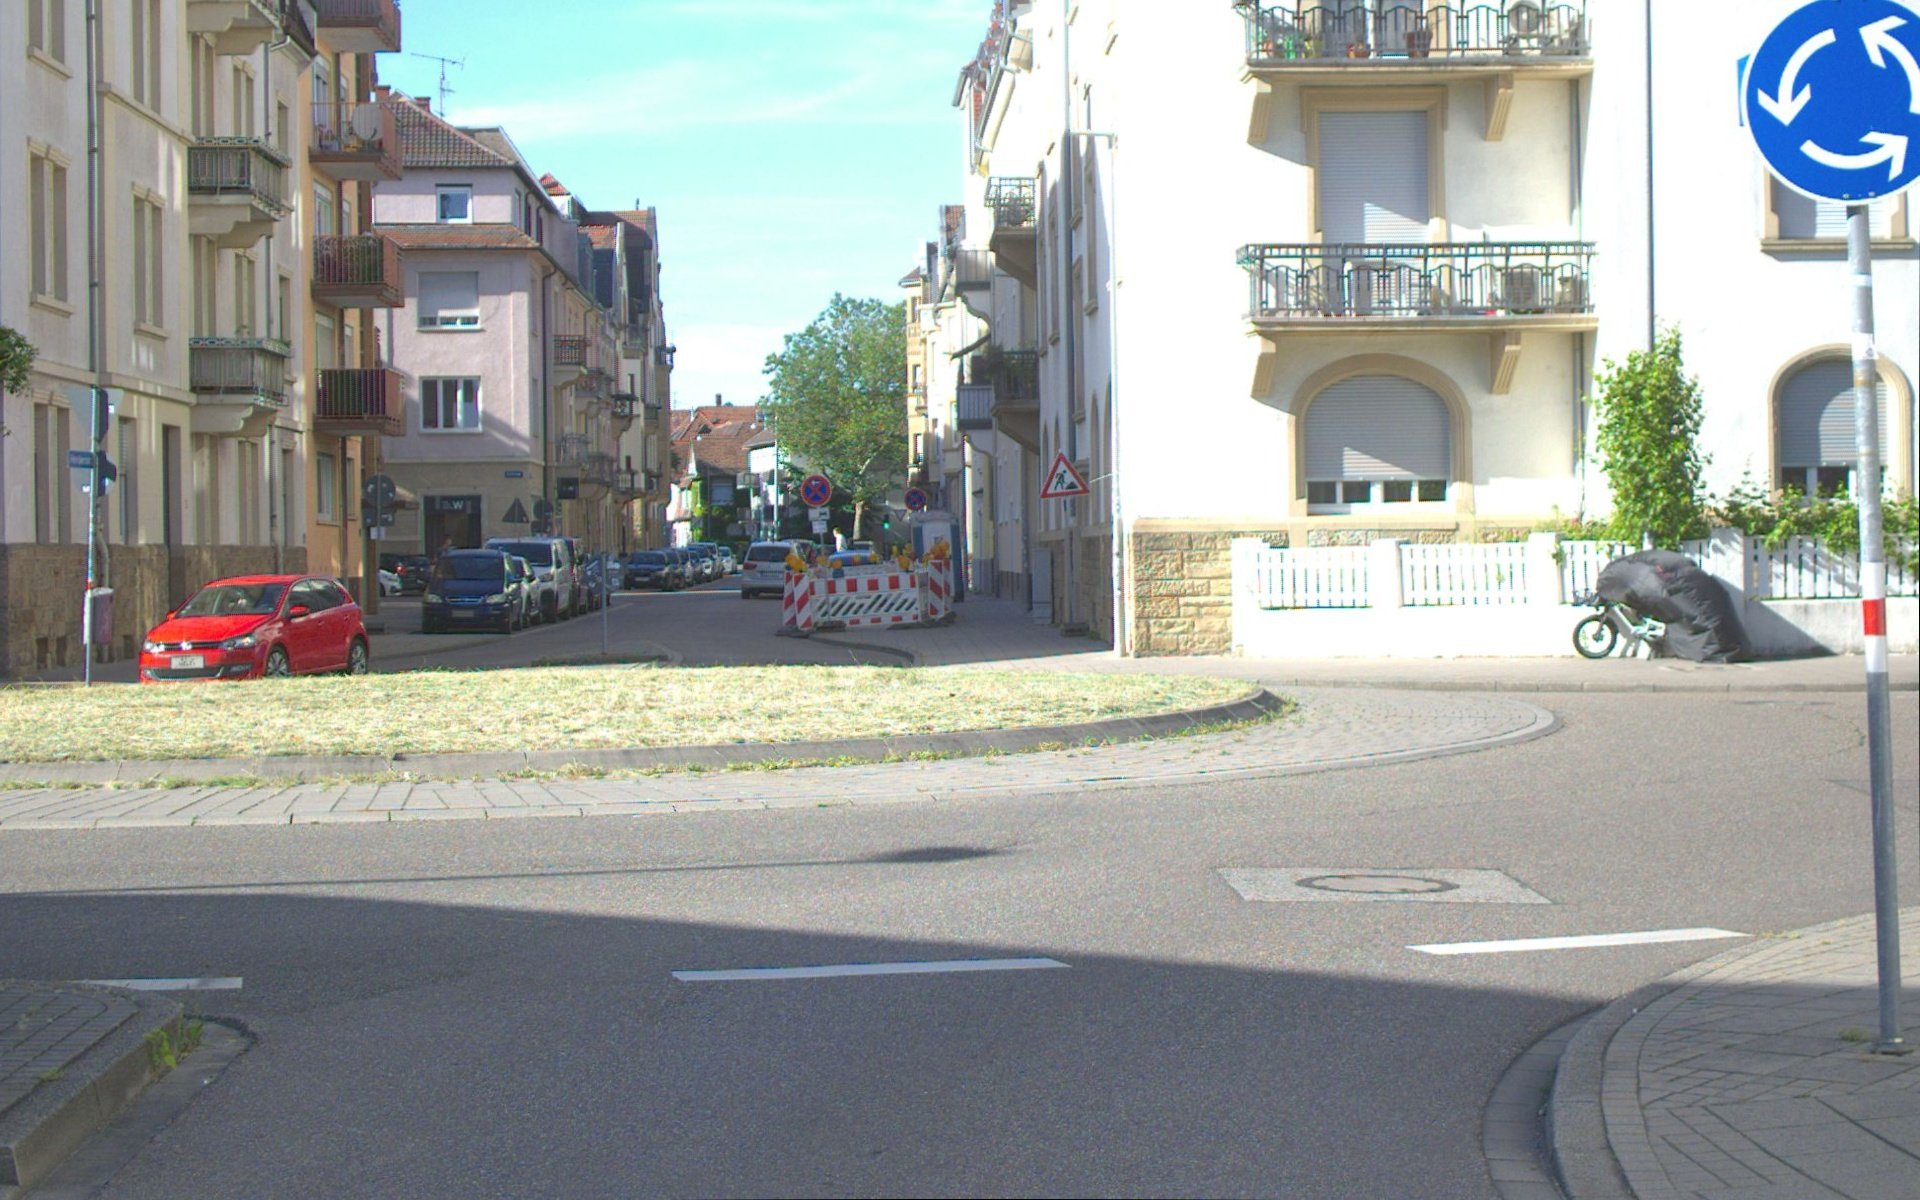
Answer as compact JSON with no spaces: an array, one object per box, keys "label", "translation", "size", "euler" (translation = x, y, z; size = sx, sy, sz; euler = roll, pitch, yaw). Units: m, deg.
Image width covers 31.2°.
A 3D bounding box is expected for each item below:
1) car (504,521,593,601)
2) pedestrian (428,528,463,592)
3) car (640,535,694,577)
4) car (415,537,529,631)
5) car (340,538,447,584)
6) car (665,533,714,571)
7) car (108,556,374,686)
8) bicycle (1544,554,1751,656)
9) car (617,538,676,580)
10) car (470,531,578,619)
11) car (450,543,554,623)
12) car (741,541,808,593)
[{"label":"car","translation":[-10.085,-0.972,84.501],"size":[1.762,1.918,4.935],"euler":[0,1,-2]},{"label":"pedestrian","translation":[-14.730,-1.152,98.472],"size":[0.923,1.811,0.995],"euler":[0,1,-5]},{"label":"car","translation":[-11.935,-1.785,140.356],"size":[2.003,1.613,4.488],"euler":[2,0,-3]},{"label":"car","translation":[-9.478,-0.344,67.040],"size":[1.762,1.765,4.295],"euler":[0,1,-2]},{"label":"car","translation":[-18.561,-1.293,112.623],"size":[3.529,1.434,1.700],"euler":[2,3,44]},{"label":"car","translation":[-12.121,-2.131,154.109],"size":[2.003,1.613,4.488],"euler":[2,0,-3]},{"label":"car","translation":[-8.829,0.226,42.531],"size":[1.712,1.377,3.998],"euler":[-2,2,12]},{"label":"bicycle","translation":[8.005,0.043,40.119],"size":[2.284,1.153,0.765],"euler":[1,1,41]},{"label":"car","translation":[-11.175,-1.436,122.718],"size":[1.679,1.421,4.274],"euler":[2,0,0]},{"label":"car","translation":[-9.872,-0.601,78.128],"size":[1.975,1.918,5.310],"euler":[0,1,-2]},{"label":"car","translation":[-9.635,-0.377,72.538],"size":[1.762,1.615,4.295],"euler":[0,1,-2]},{"label":"car","translation":[-5.574,-0.981,103.407],"size":[1.838,1.426,4.029],"euler":[-2,0,-1]}]
